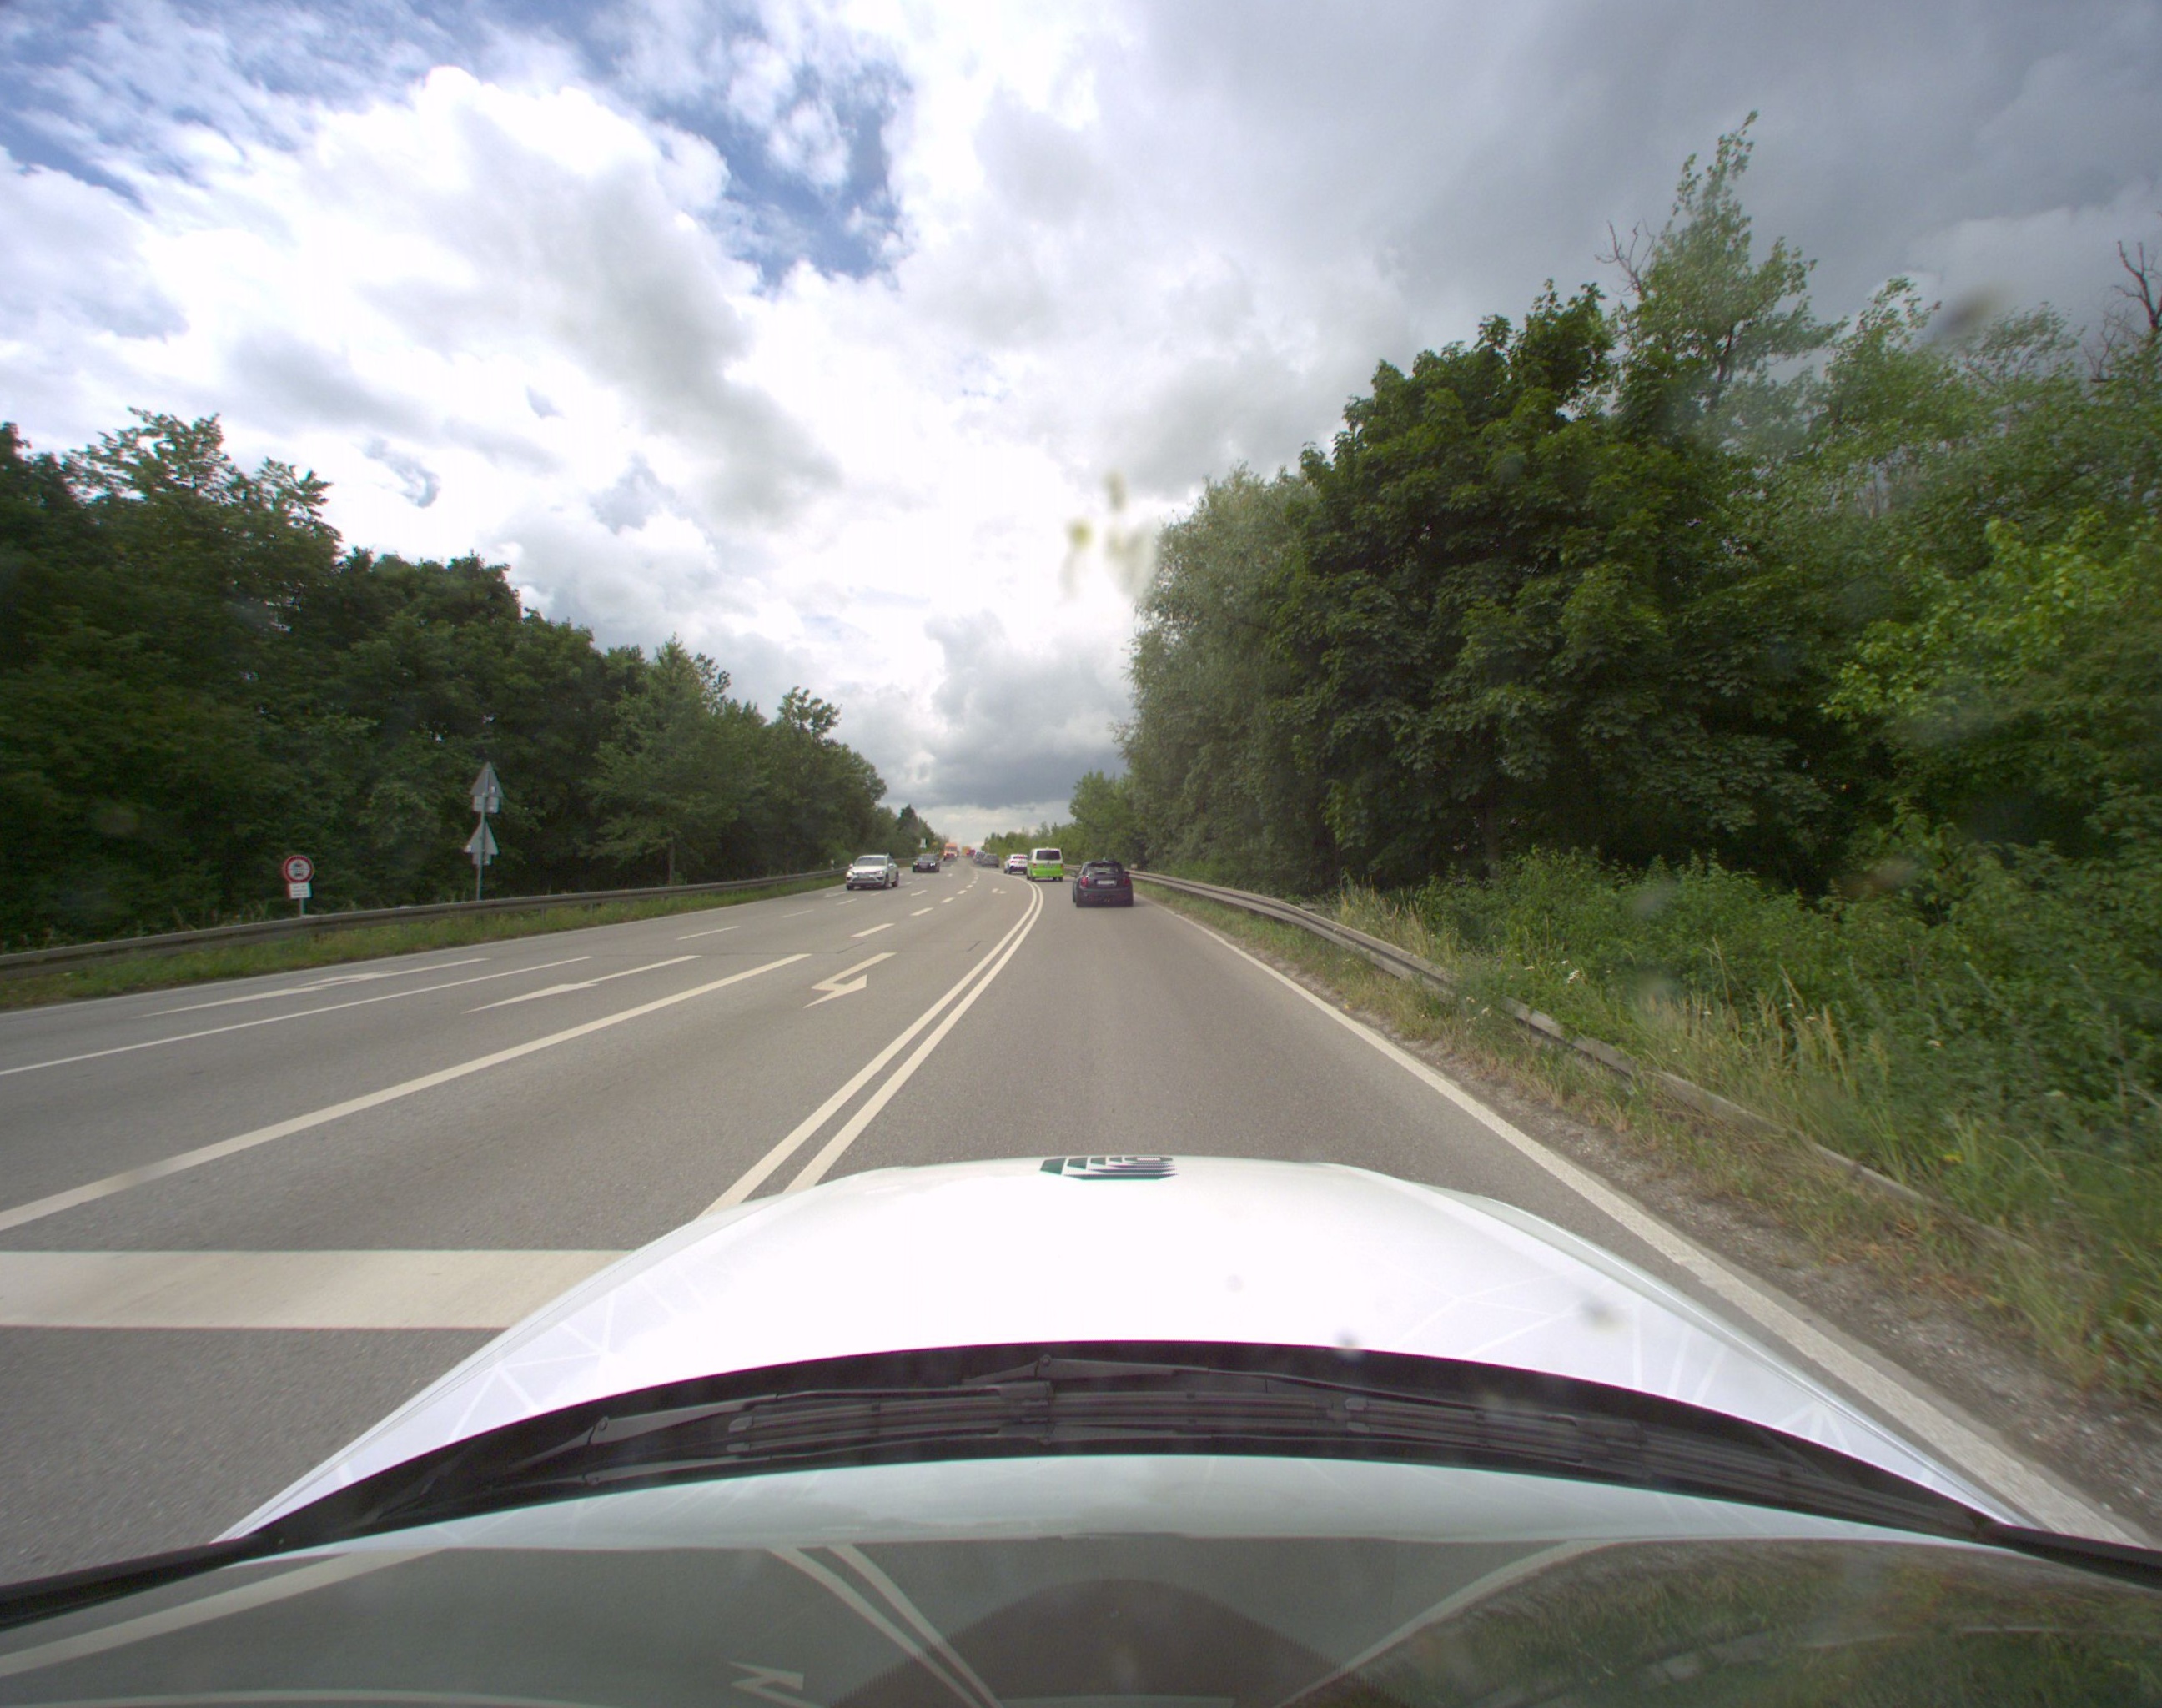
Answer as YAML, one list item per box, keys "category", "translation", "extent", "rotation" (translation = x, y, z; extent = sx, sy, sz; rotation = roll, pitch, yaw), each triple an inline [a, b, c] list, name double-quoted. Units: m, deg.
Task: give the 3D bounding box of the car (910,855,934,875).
- category: "car"
  translation: [-12.997, 0.844, 66.458]
  extent: [1.719, 1.498, 4.528]
  rotation: [-1, 0, -13]

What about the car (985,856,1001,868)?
- category: "car"
  translation: [-9.810, 0.853, 90.792]
  extent: [1.692, 1.222, 3.991]
  rotation: [-1, 1, -6]

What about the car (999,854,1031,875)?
- category: "car"
  translation: [-5.259, 0.802, 64.391]
  extent: [1.990, 1.618, 4.135]
  rotation: [-1, 0, -13]

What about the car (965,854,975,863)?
- category: "car"
  translation: [-21.949, 0.904, 161.078]
  extent: [1.993, 1.798, 3.988]
  rotation: [0, -1, -9]

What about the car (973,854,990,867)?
- category: "car"
  translation: [-12.863, 0.795, 105.160]
  extent: [1.881, 1.618, 3.984]
  rotation: [-1, 0, -11]

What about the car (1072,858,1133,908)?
- category: "car"
  translation: [0.611, 0.865, 26.099]
  extent: [1.727, 1.456, 3.997]
  rotation: [-1, 0, -2]

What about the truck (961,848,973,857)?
- category: "truck"
  translation: [-29.746, -0.477, 212.948]
  extent: [2.906, 2.372, 10.429]
  rotation: [0, 0, -6]

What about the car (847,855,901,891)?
- category: "car"
  translation: [-10.376, 0.919, 41.114]
  extent: [1.855, 1.643, 4.729]
  rotation: [-1, 0, -5]

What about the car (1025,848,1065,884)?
- category: "car"
  translation: [-2.197, 0.687, 48.817]
  extent: [2.021, 2.013, 3.988]
  rotation: [-1, 0, -8]

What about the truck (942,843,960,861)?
- category: "truck"
  translation: [-19.120, -0.340, 119.928]
  extent: [2.314, 2.601, 6.009]
  rotation: [0, 0, -7]
